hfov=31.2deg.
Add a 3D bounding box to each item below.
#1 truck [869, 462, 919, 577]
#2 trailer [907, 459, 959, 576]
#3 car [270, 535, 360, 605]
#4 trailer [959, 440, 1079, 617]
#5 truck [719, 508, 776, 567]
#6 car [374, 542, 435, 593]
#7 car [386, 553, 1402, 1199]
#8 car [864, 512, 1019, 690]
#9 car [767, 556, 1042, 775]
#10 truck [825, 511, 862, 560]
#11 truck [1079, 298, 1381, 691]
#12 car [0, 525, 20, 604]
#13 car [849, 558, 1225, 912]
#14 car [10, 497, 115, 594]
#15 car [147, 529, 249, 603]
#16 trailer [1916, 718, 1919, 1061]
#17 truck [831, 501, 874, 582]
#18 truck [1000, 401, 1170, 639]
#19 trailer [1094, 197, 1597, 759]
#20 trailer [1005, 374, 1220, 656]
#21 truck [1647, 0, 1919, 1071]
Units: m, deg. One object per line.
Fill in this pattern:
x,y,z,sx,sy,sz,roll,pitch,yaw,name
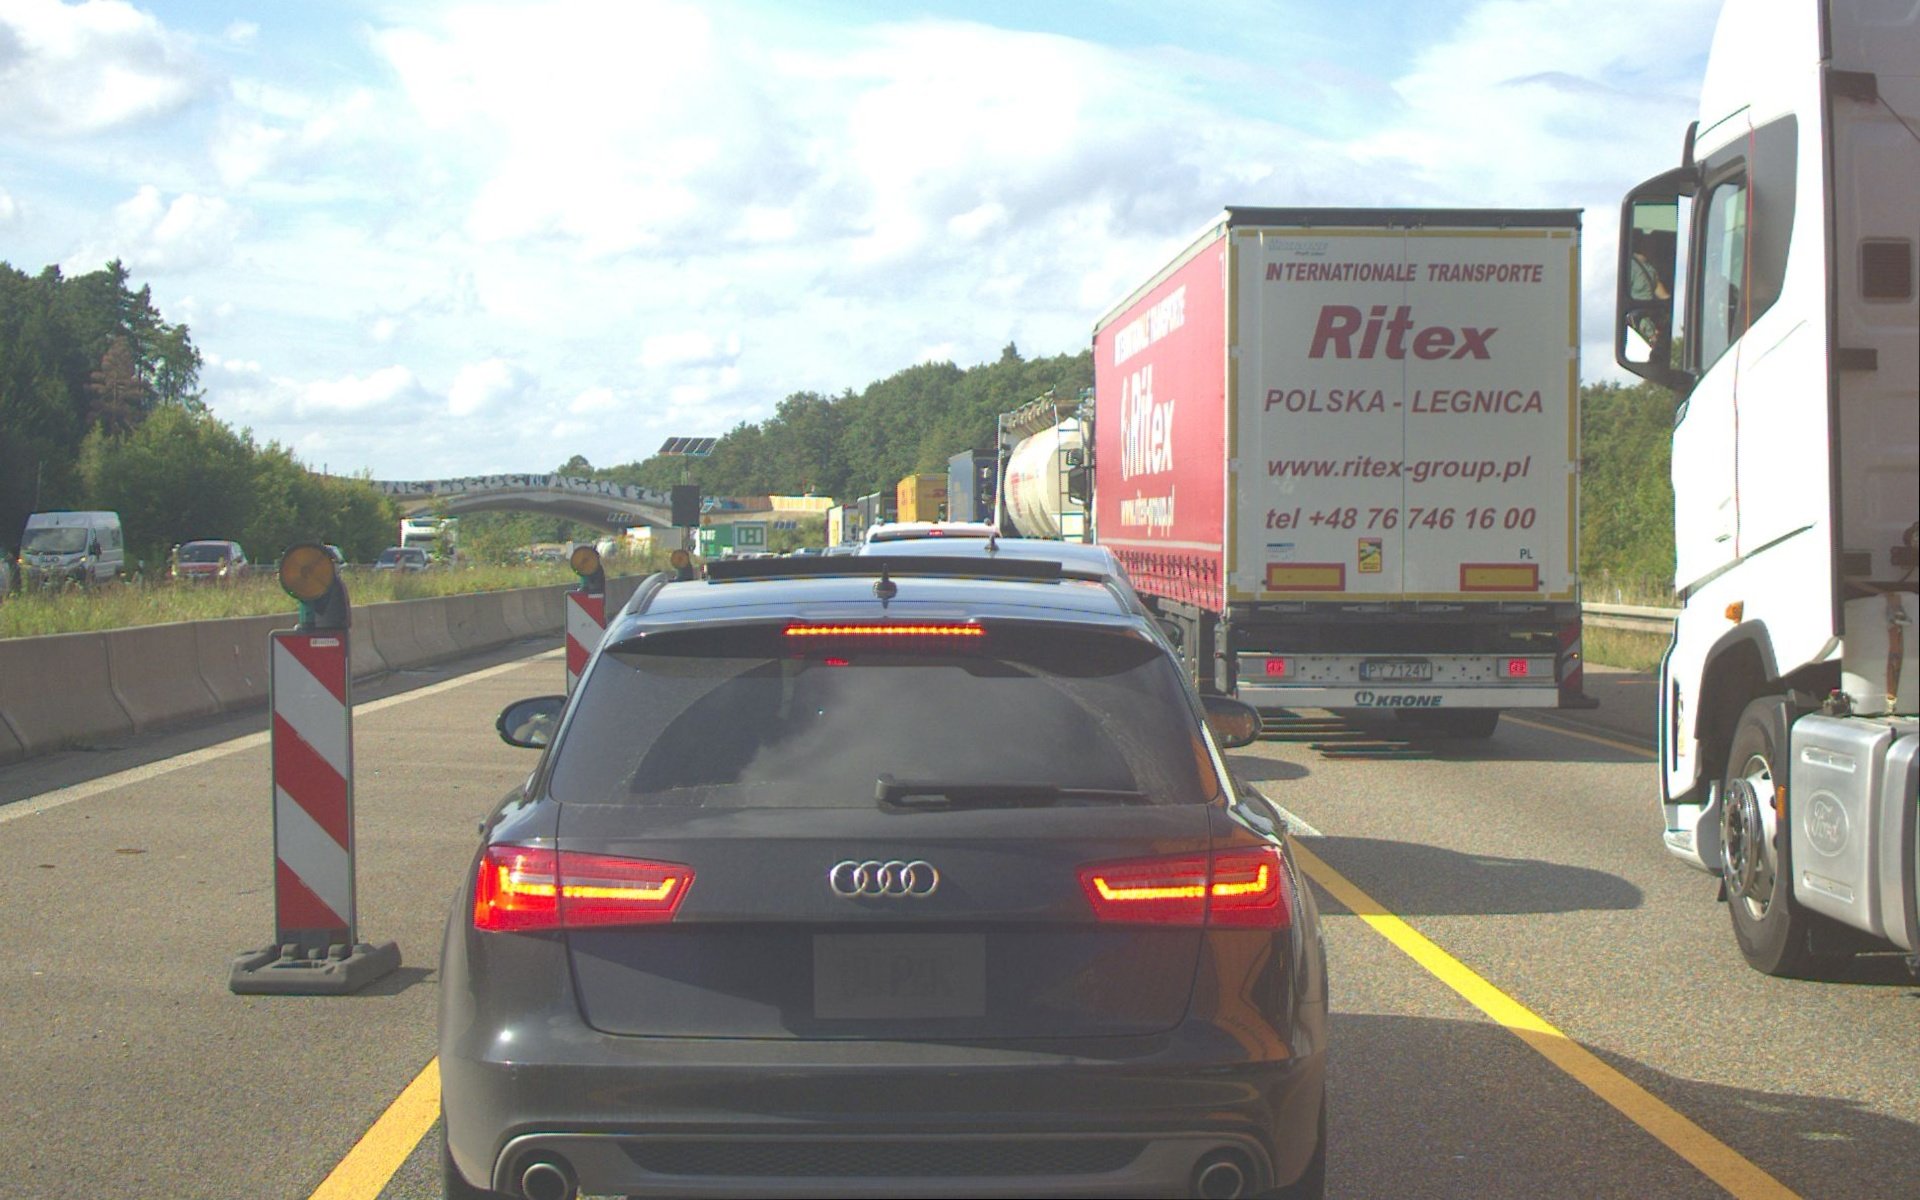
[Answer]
-2.927,-3.512,151.690,1.993,4.897,9.563,1,1,-2,truck
-0.969,-2.800,118.340,1.616,3.905,6.490,1,0,-1,trailer
-17.731,-0.824,94.629,1.799,1.843,3.810,1,0,-1,car
1.482,-1.849,91.461,2.805,4.398,10.433,1,0,-1,trailer
-15.650,-4.573,252.806,3.303,4.160,9.704,-1,0,-8,truck
-18.391,-1.089,113.896,1.482,1.647,3.234,1,0,-1,car
-0.143,0.631,8.281,1.848,1.458,4.000,0,0,-1,car
-0.211,-0.003,37.420,1.581,1.830,3.112,1,0,-1,car
-0.379,0.407,24.023,1.751,1.392,3.608,1,0,-1,car
-8.584,-4.725,252.663,2.566,3.455,7.399,1,0,-2,truck
2.835,-1.115,37.667,2.667,3.946,5.711,1,1,-1,truck
-25.482,-0.922,87.571,1.993,2.007,4.000,1,0,-1,car
0.298,0.541,15.771,1.524,1.434,3.285,1,0,-1,car
-25.397,-1.524,97.426,2.250,2.634,5.021,1,0,-8,car
-21.321,-0.978,96.292,1.993,2.007,4.000,1,1,-1,car
4.202,-0.426,3.989,2.471,3.762,12.137,0,1,-1,trailer
-5.791,-3.168,185.922,2.137,4.242,7.072,1,1,-1,truck
2.142,-1.372,60.724,2.659,3.958,5.779,1,0,-1,truck
2.995,-0.975,31.108,2.699,3.955,13.418,1,1,-1,trailer
2.227,-1.292,54.816,2.644,3.929,12.598,1,1,-1,trailer
4.023,-0.517,10.488,2.494,3.767,5.790,1,1,-2,truck
